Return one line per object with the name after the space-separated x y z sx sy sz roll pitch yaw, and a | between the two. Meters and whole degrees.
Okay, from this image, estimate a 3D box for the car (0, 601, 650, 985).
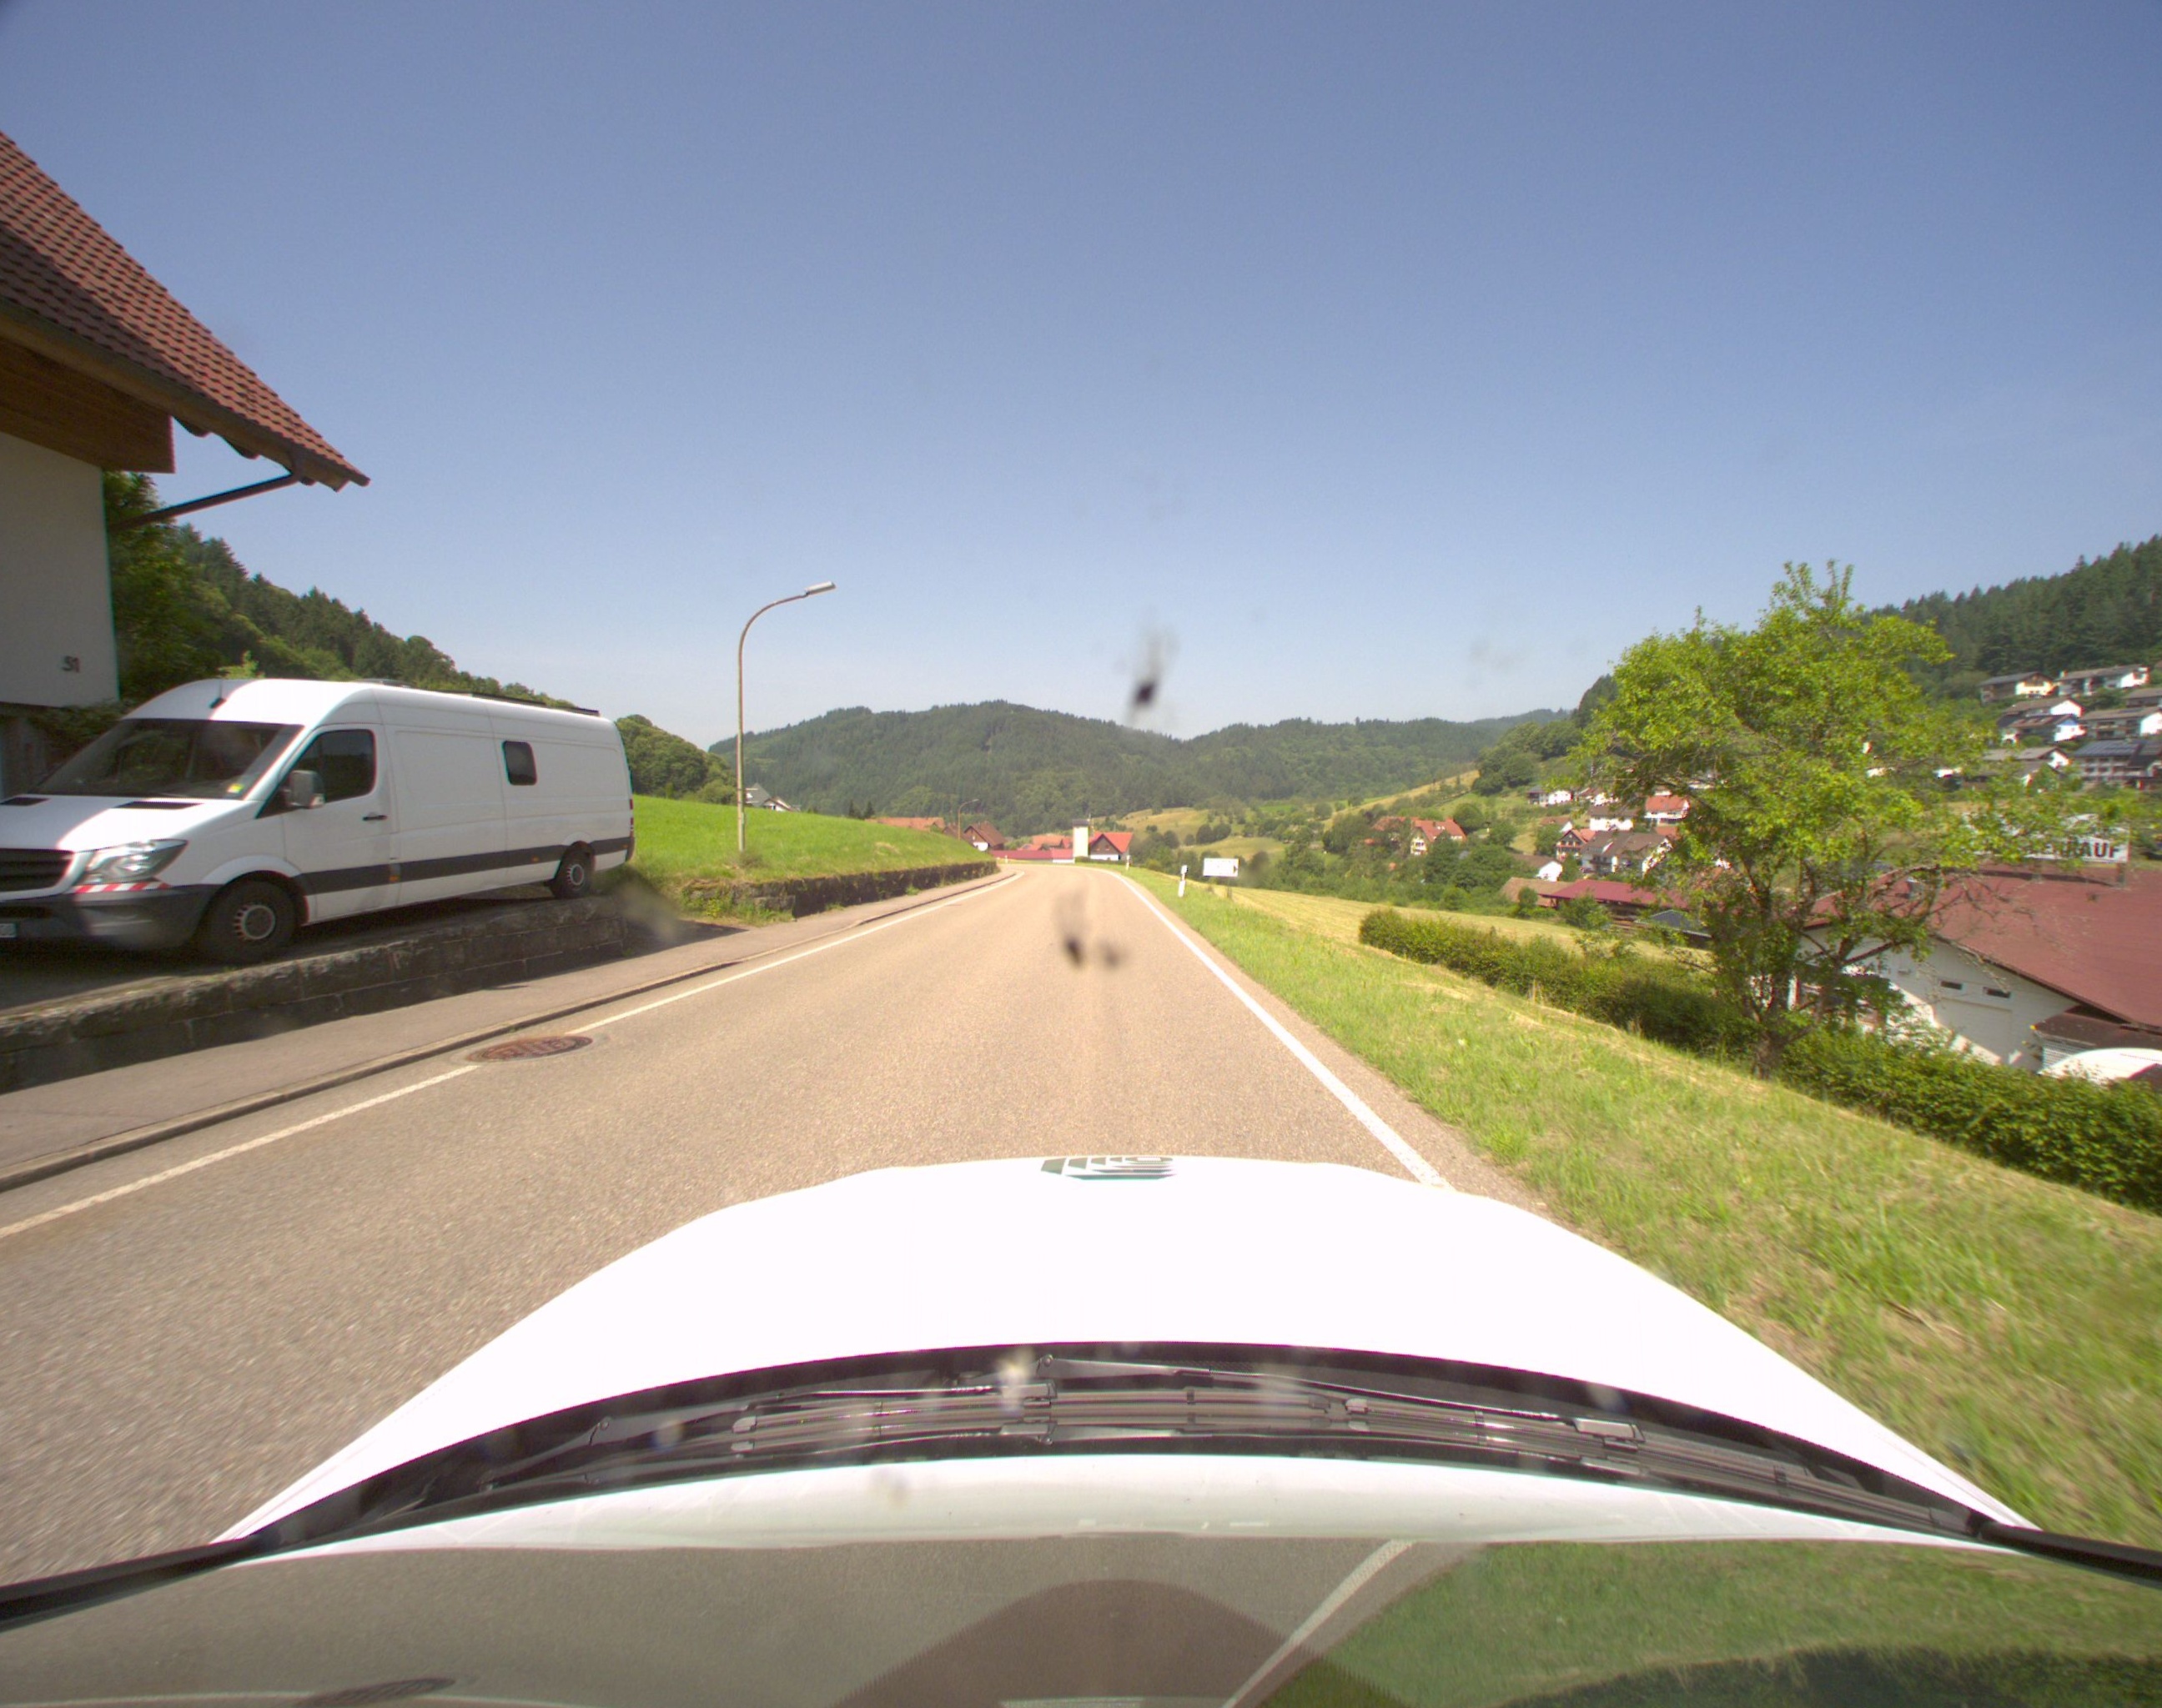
-7.904 -0.650 9.340 2.061 2.687 7.176 2 3 0 | car
